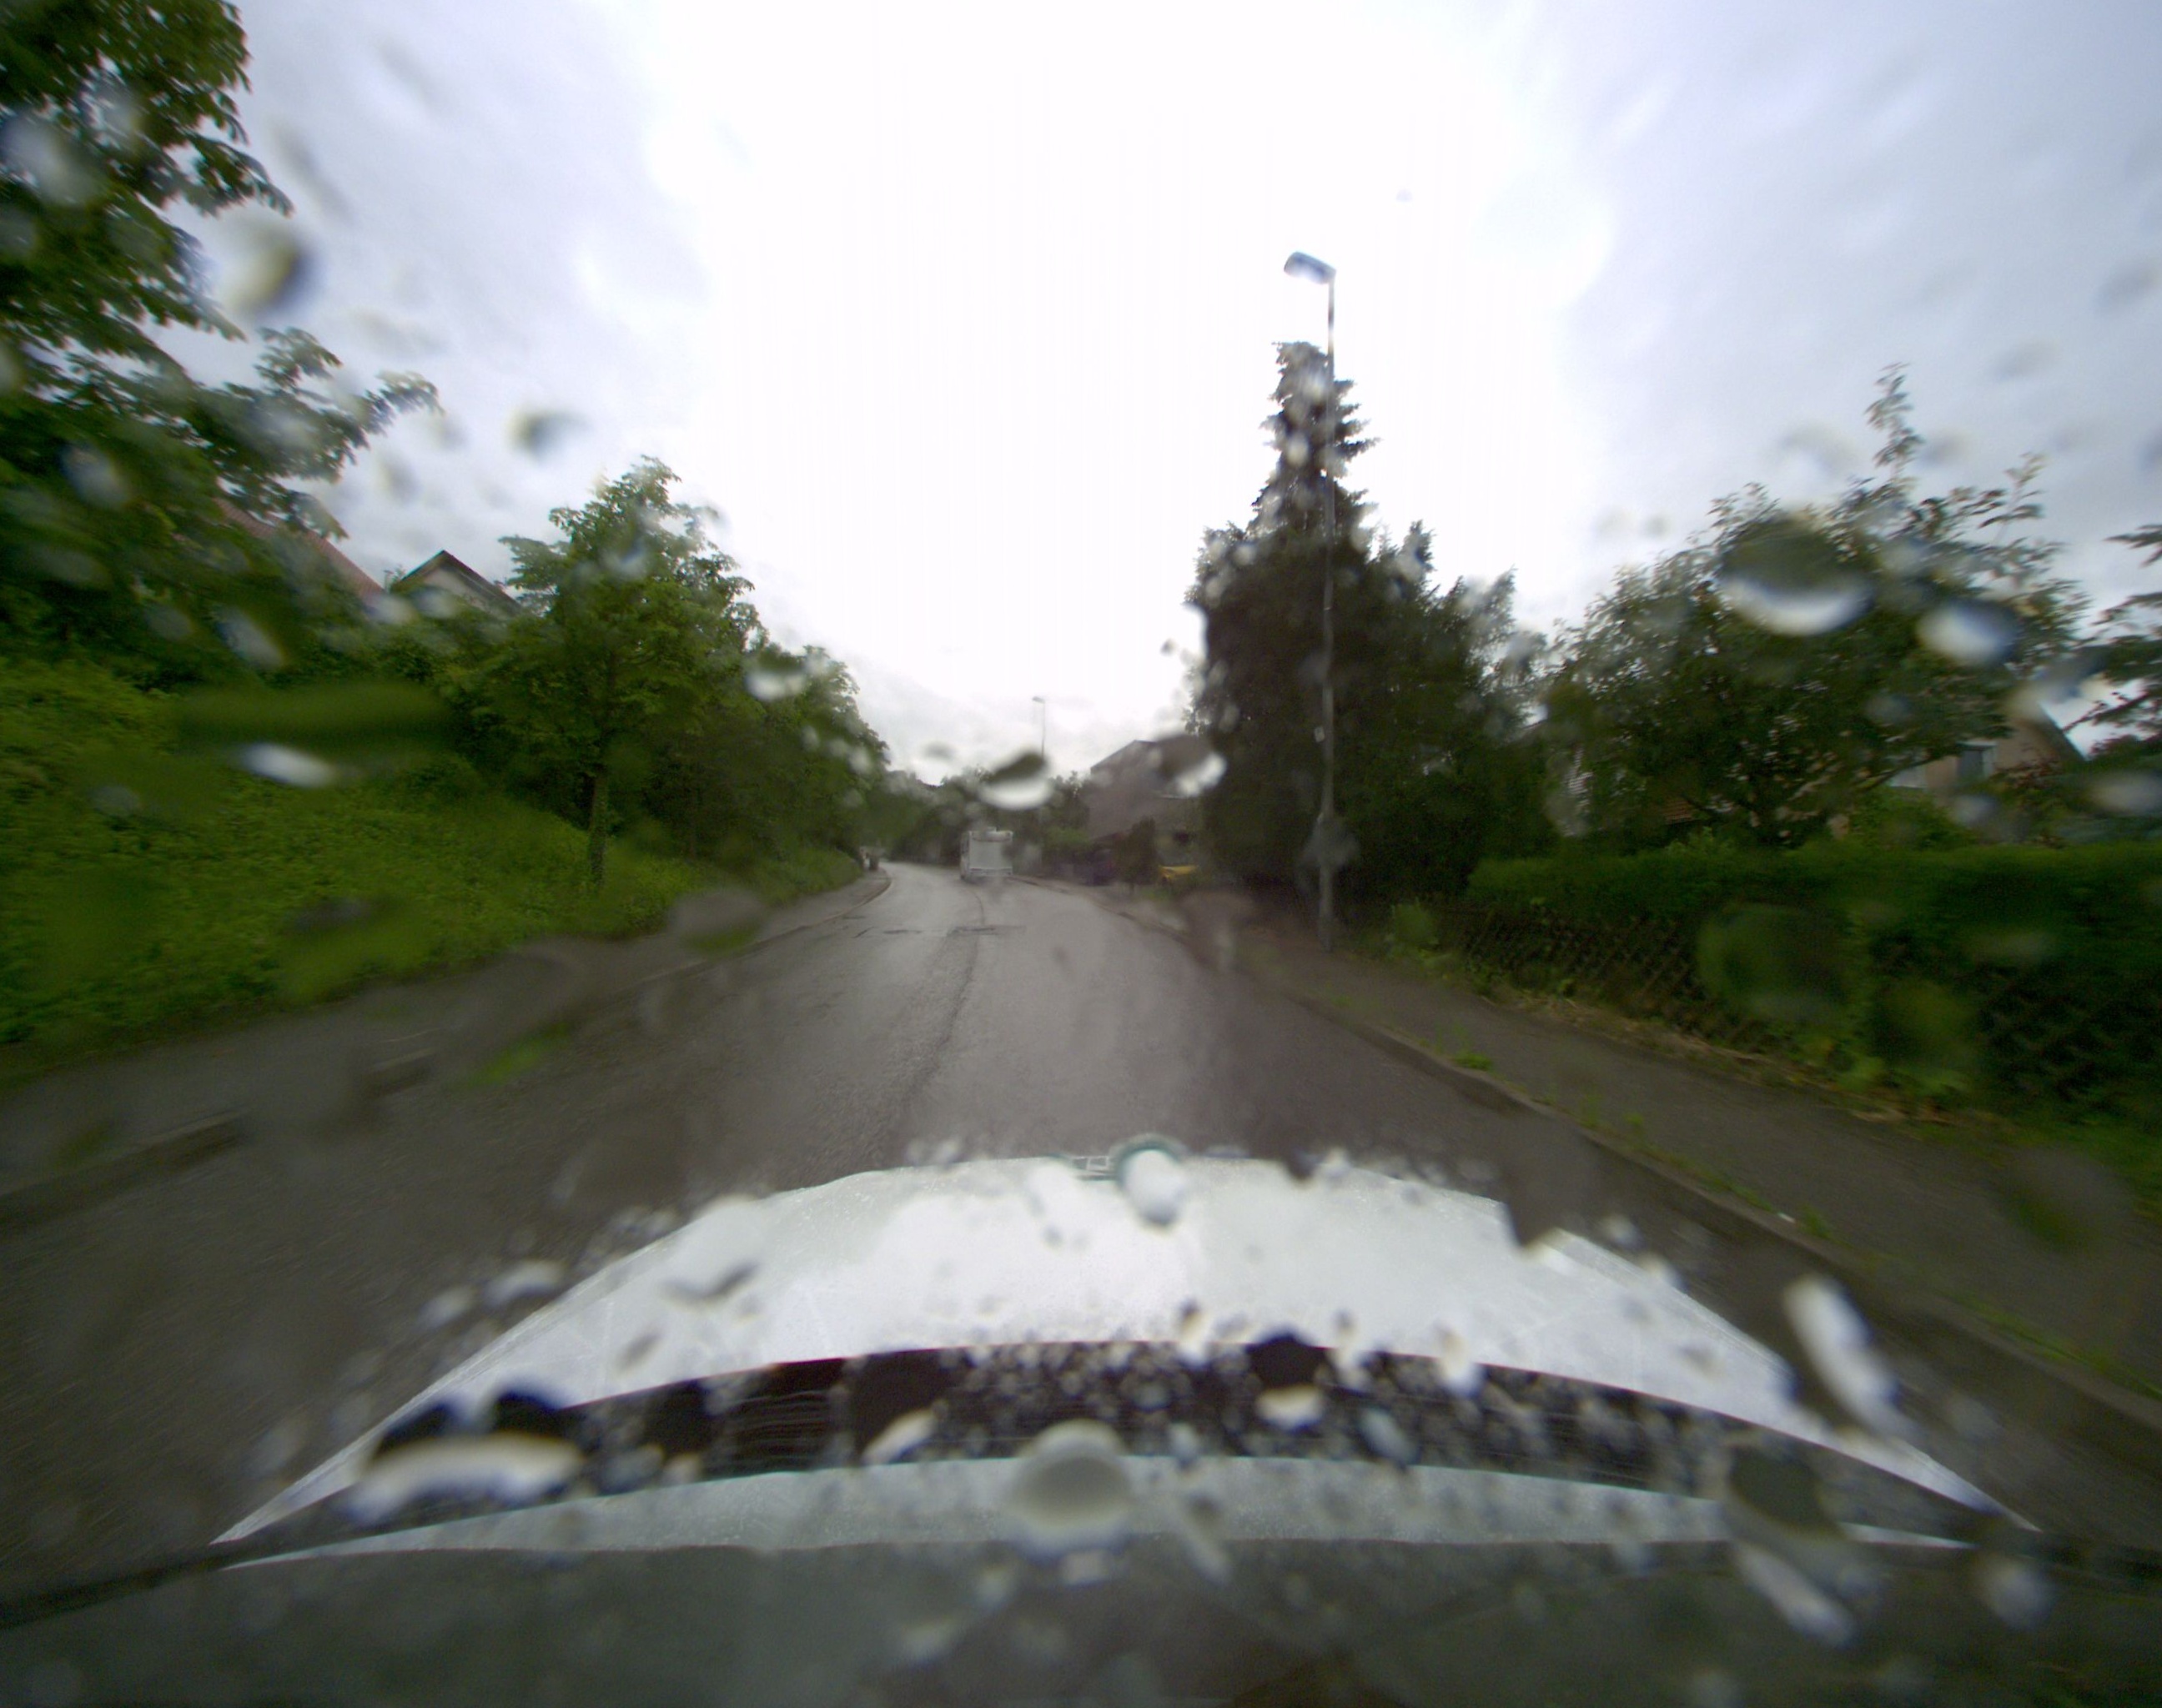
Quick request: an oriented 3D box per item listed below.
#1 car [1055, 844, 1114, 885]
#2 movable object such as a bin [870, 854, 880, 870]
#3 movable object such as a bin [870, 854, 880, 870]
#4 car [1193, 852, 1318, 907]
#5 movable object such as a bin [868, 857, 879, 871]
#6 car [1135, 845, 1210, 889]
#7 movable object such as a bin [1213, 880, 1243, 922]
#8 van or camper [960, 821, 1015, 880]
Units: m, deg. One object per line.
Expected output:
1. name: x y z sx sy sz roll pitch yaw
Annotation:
1. car: 0.104 0.586 41.975 1.996 1.941 4.749 1 -3 -14
2. movable object such as a bin: -14.031 0.542 55.524 0.649 1.104 0.669 1 0 -16
3. movable object such as a bin: -13.835 0.544 54.728 0.649 1.080 0.669 1 0 -16
4. car: 5.638 0.831 26.276 3.788 1.661 1.758 1 -4 -33
5. movable object such as a bin: -13.739 0.642 53.930 0.649 0.911 0.669 1 0 -16
6. car: 3.448 0.489 31.332 1.631 1.493 3.408 -5 1 -15
7. movable object such as a bin: 3.643 1.160 20.178 0.504 0.969 0.592 4 -1 -9
8. van or camper: -5.137 -0.143 43.929 2.541 2.925 5.925 0 -1 -11
